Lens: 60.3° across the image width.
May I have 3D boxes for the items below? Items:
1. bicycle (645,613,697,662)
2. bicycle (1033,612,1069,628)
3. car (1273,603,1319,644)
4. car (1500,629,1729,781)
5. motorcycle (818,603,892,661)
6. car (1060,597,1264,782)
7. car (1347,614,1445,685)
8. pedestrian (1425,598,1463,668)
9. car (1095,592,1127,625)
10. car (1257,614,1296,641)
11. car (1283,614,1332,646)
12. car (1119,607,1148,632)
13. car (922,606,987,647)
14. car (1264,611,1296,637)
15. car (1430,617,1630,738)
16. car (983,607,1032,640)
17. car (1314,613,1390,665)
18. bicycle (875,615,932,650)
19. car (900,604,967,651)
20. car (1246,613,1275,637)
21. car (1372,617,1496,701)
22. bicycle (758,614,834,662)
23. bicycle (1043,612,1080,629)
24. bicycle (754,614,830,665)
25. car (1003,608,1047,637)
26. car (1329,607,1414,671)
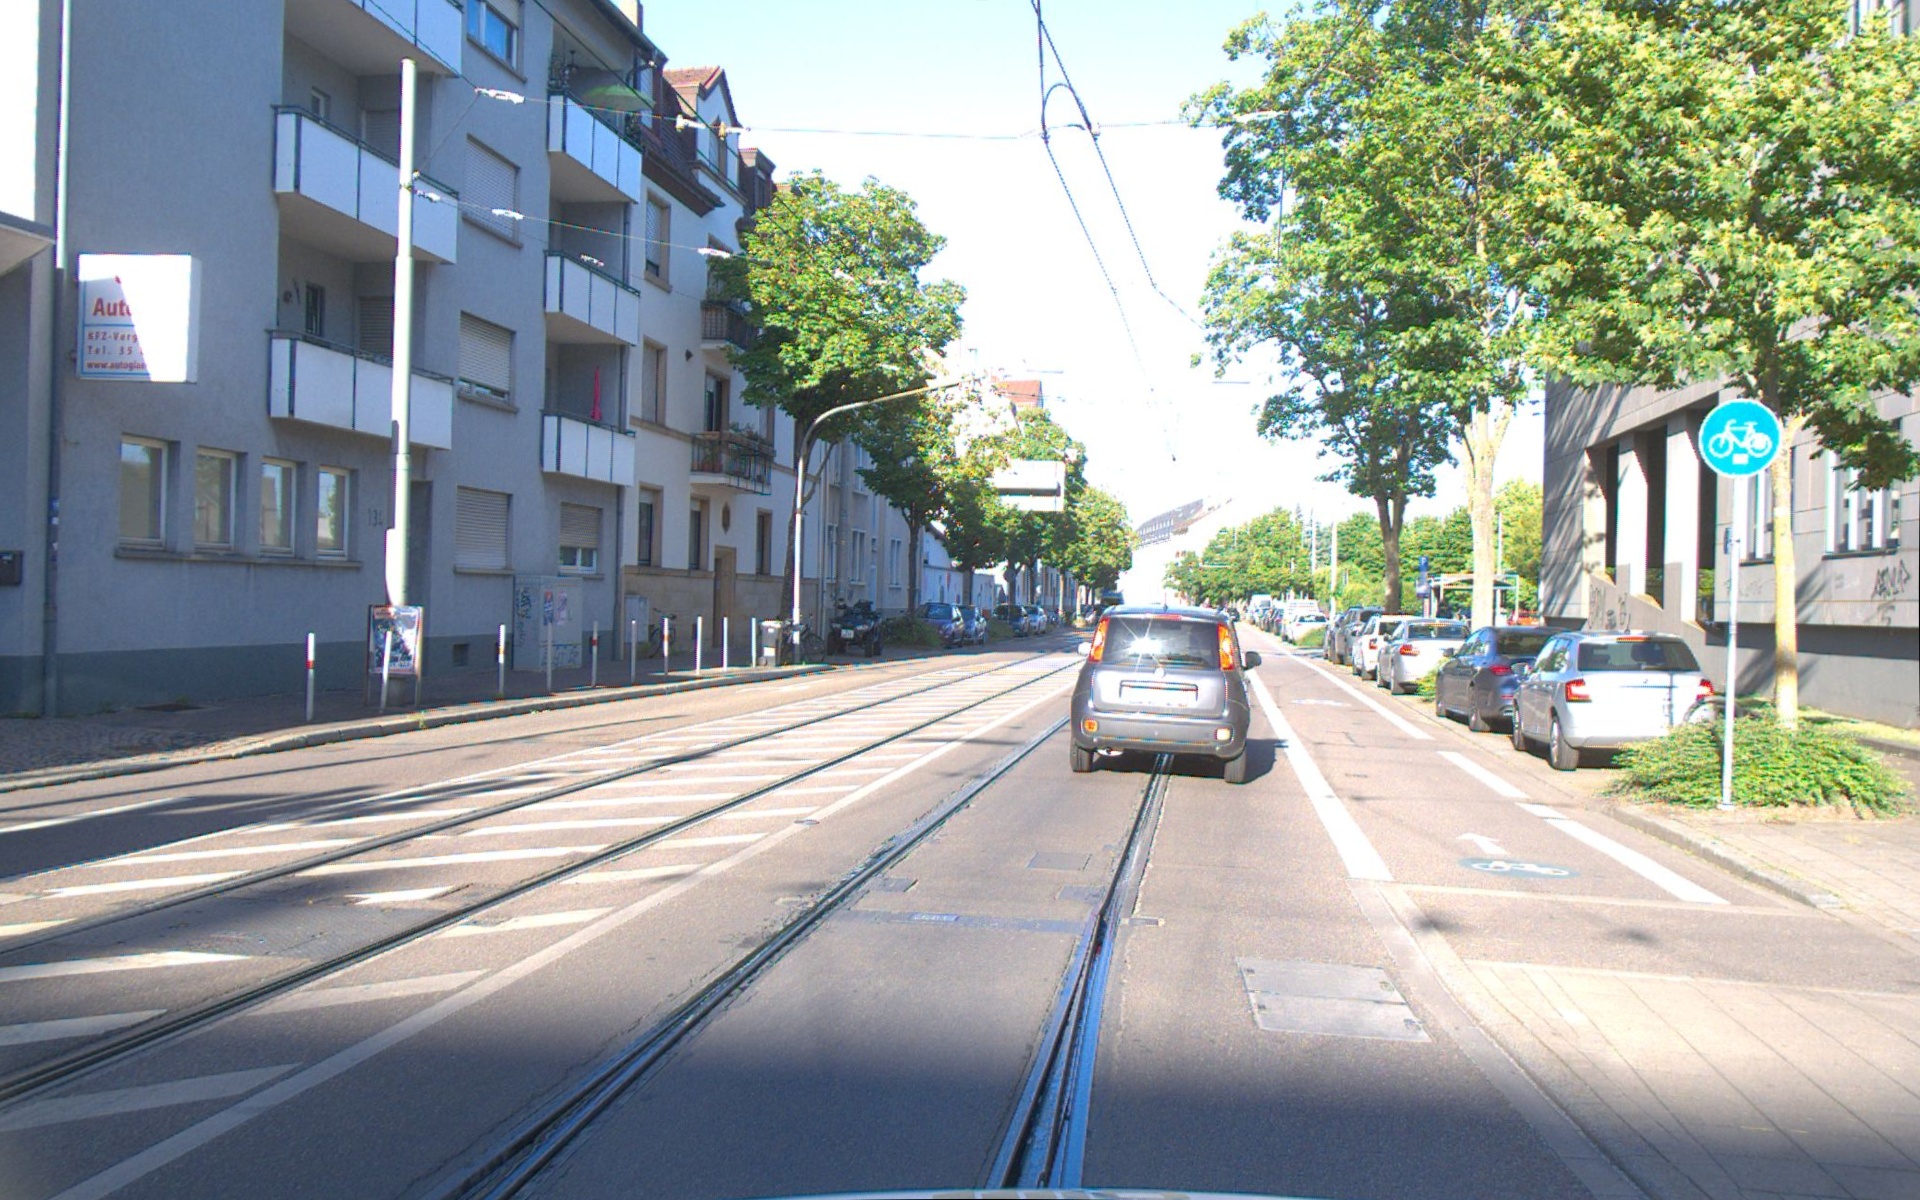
[{"bbox_3d":[-6.376,0.813,36.585,0.495,1.024,2.021,1,0,8],"label":"bicycle"},{"bbox_3d":[5.539,1.223,100.358,2.228,0.946,0.785,1,0,45],"label":"bicycle"},{"bbox_3d":[16.525,1.142,81.498,1.914,1.938,4.191,1,0,7],"label":"car"},{"bbox_3d":[7.390,1.115,19.042,1.606,1.481,3.918,1,0,9],"label":"car"},{"bbox_3d":[-2.865,0.848,45.491,1.427,1.507,3.104,1,0,7],"label":"motorcycle"},{"bbox_3d":[2.022,0.789,16.139,1.694,1.527,4.003,2,-1,9],"label":"car"},{"bbox_3d":[10.082,1.102,38.514,1.709,1.483,4.622,1,0,9],"label":"car"},{"bbox_3d":[14.551,0.991,49.739,0.947,2.049,1.026,1,-1,10],"label":"pedestrian"},{"bbox_3d":[12.589,0.680,137.330,2.284,2.614,5.676,1,0,8],"label":"car"},{"bbox_3d":[18.210,1.563,95.297,1.914,1.444,4.191,1,0,7],"label":"car"},{"bbox_3d":[16.047,1.358,76.596,1.874,1.399,4.191,1,0,7],"label":"car"},{"bbox_3d":[11.466,1.284,109.181,1.743,1.518,4.191,2,0,7],"label":"car"},{"bbox_3d":[-0.176,0.980,62.094,1.914,1.444,4.191,1,0,7],"label":"car"},{"bbox_3d":[19.966,1.478,103.350,1.660,1.574,4.003,1,0,7],"label":"car"},{"bbox_3d":[8.128,1.034,24.005,1.800,1.516,4.646,1,0,7],"label":"car"},{"bbox_3d":[2.257,1.068,77.429,1.914,1.444,4.191,1,0,7],"label":"car"},{"bbox_3d":[12.054,1.172,51.027,1.803,1.509,4.191,1,0,7],"label":"car"},{"bbox_3d":[-1.817,1.048,53.016,1.713,1.041,0.607,3,-1,-12],"label":"bicycle"},{"bbox_3d":[-0.877,0.924,56.895,1.759,1.512,4.003,1,0,7],"label":"car"},{"bbox_3d":[19.919,1.642,109.830,1.660,1.525,4.003,1,0,7],"label":"car"},{"bbox_3d":[9.267,1.105,32.625,1.783,1.489,4.160,1,0,8],"label":"car"},{"bbox_3d":[-3.814,0.882,38.496,1.676,1.051,0.443,3,-1,-12],"label":"bicycle"},{"bbox_3d":[6.204,1.250,101.081,2.286,0.946,0.785,1,0,45],"label":"bicycle"},{"bbox_3d":[-3.728,0.874,36.714,1.586,1.062,0.455,3,-1,-23],"label":"bicycle"},{"bbox_3d":[3.358,1.128,84.663,1.914,1.444,4.191,1,0,7],"label":"car"},{"bbox_3d":[11.384,1.045,45.968,1.778,1.669,4.108,1,0,7],"label":"car"}]
